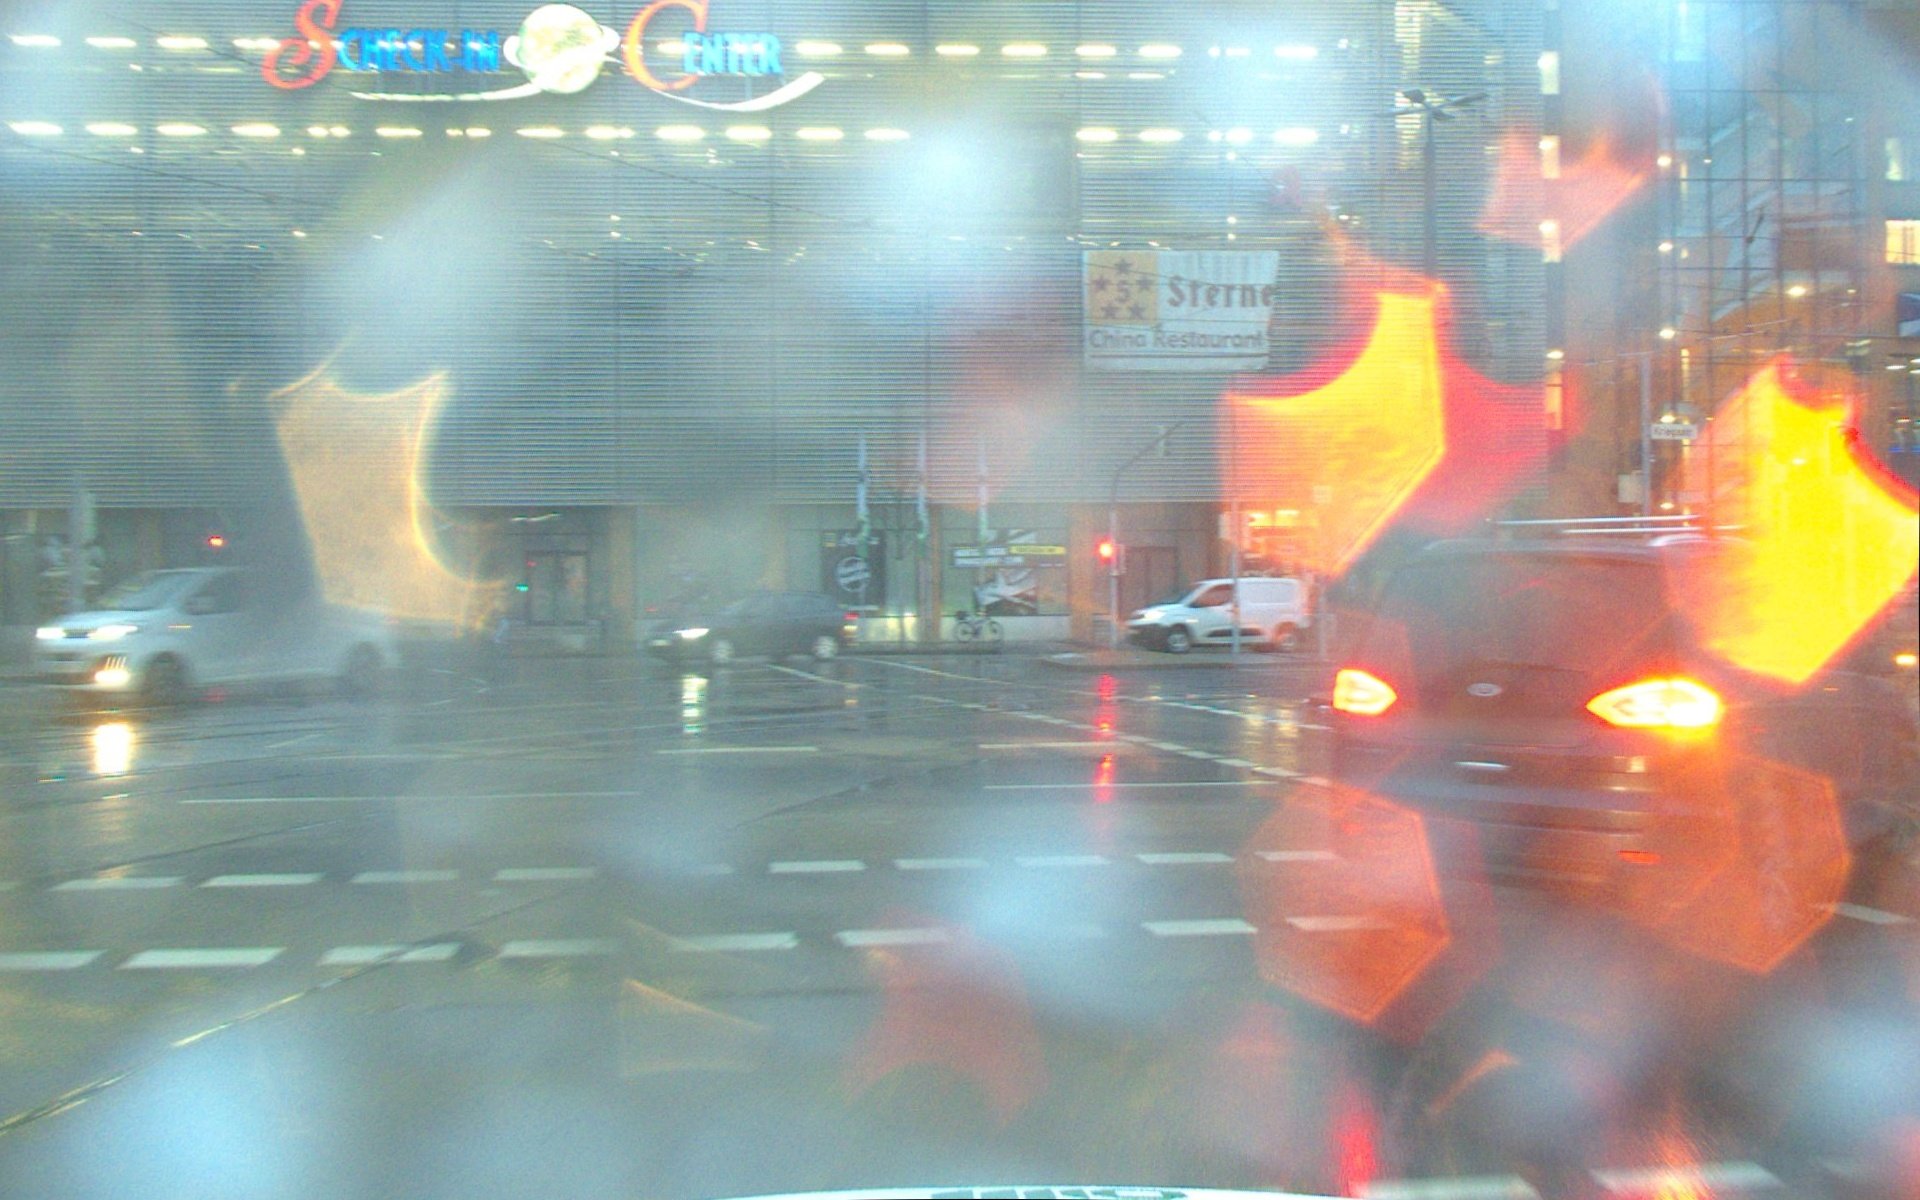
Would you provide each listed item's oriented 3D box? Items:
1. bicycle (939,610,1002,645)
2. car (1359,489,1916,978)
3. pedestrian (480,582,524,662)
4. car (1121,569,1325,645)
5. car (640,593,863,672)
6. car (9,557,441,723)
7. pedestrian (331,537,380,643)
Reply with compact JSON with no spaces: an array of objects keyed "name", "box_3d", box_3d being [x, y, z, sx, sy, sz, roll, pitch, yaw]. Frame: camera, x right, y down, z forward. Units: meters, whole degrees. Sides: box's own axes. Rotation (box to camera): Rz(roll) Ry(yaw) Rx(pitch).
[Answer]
[{"name":"bicycle","box_3d":[0.343,0.914,54.965,2.042,1.141,0.477,1,-1,-2]},{"name":"car","box_3d":[3.559,0.507,8.229,1.646,1.811,3.984,1,0,36]},{"name":"pedestrian","box_3d":[-14.481,0.696,52.303,1.087,2.482,0.966,1,-1,-1]},{"name":"car","box_3d":[6.334,0.157,40.036,4.511,1.749,1.925,-1,0,-10]},{"name":"car","box_3d":[-4.172,0.625,33.589,4.387,1.470,1.604,-1,0,-43]},{"name":"car","box_3d":[-10.350,0.498,23.862,1.911,2.095,5.649,-1,0,31]},{"name":"pedestrian","box_3d":[-17.183,-0.271,47.020,0.943,2.976,1.113,1,-1,-1]}]
